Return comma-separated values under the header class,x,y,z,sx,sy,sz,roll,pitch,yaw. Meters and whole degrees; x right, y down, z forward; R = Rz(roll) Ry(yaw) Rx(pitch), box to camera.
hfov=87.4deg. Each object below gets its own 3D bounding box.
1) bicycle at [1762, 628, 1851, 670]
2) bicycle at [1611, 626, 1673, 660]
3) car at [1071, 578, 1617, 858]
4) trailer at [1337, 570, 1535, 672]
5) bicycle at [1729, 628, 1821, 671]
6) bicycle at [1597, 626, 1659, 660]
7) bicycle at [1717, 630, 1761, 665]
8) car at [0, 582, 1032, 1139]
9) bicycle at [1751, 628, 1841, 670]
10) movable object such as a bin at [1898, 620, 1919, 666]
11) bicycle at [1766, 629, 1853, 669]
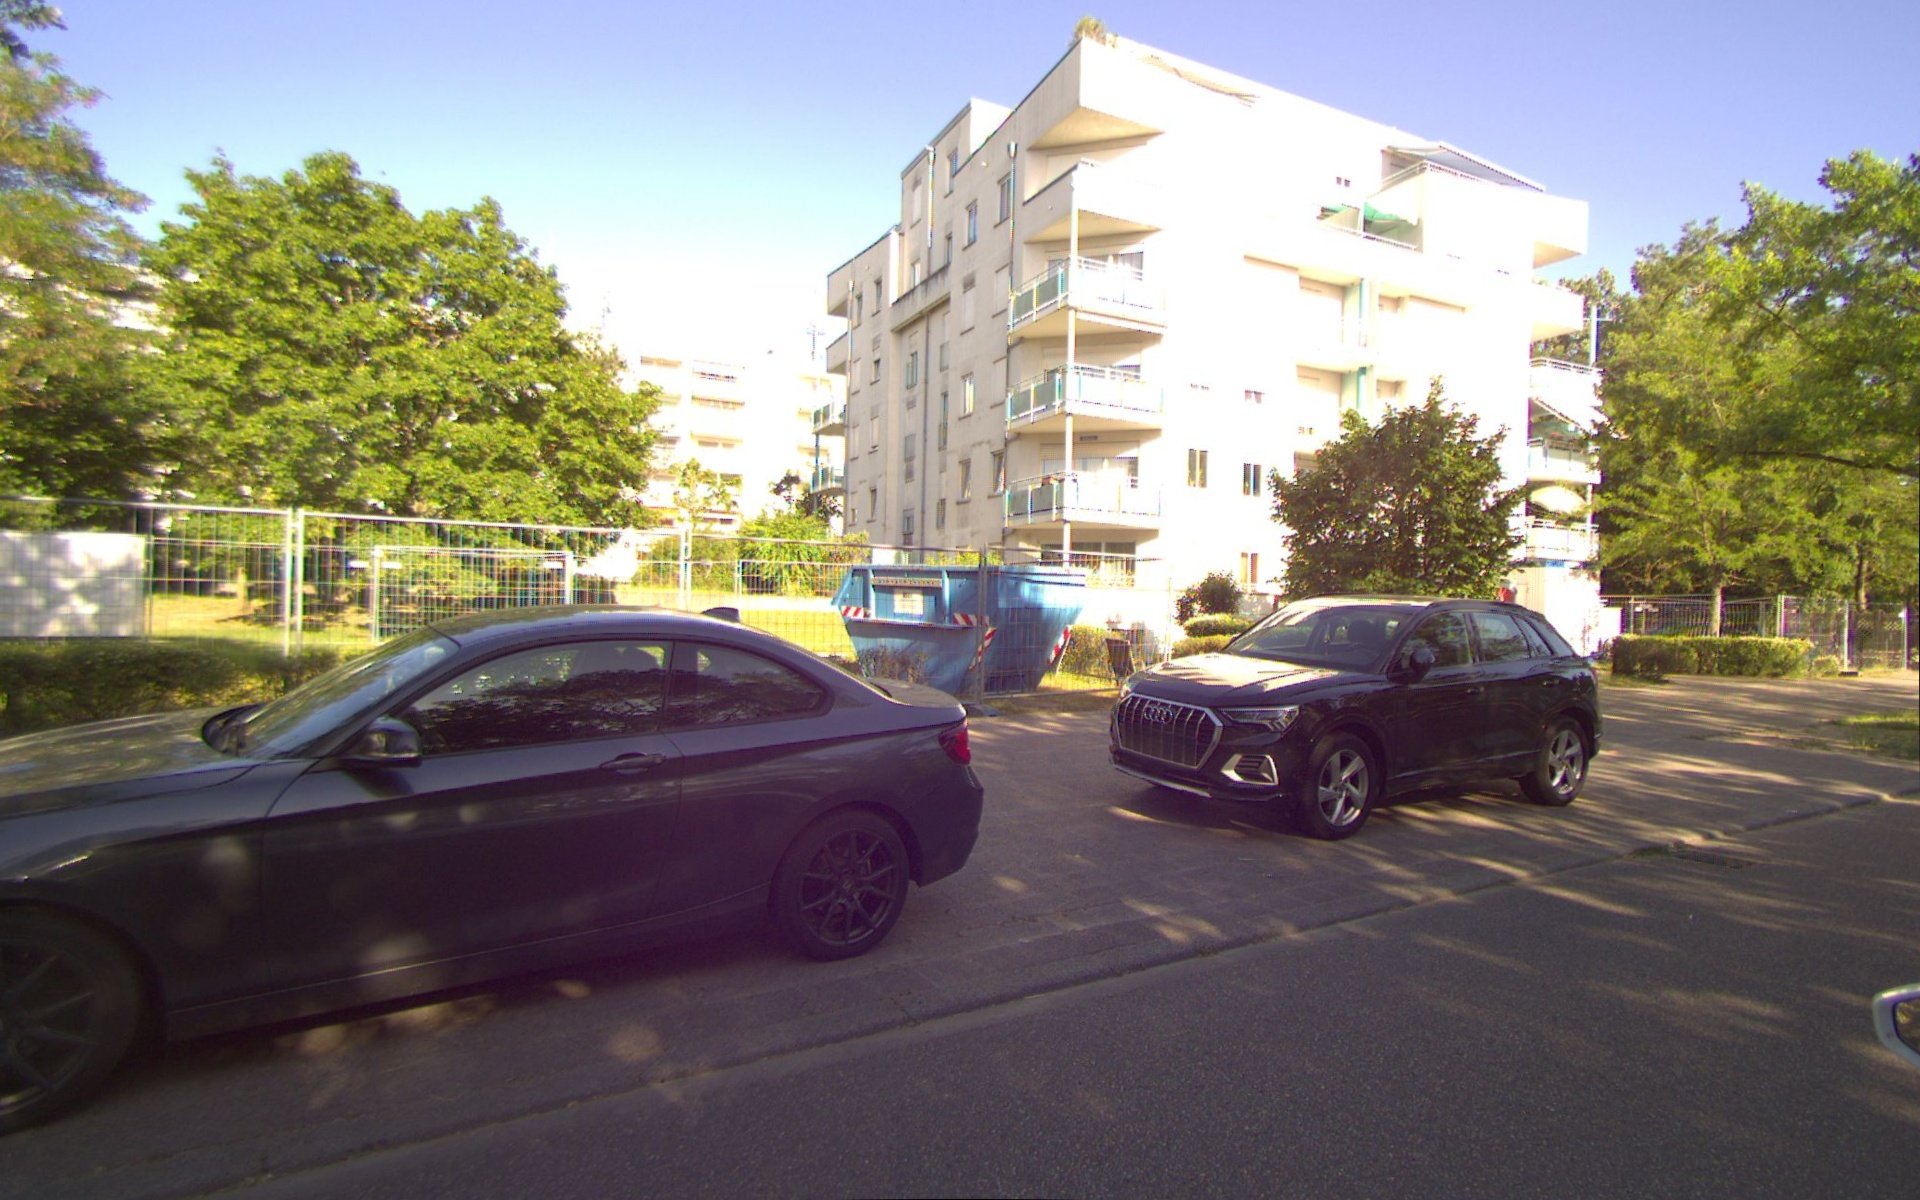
class,x,y,z,sx,sy,sz,roll,pitch,yaw
bicycle,23.353,1.339,27.735,0.398,1.040,1.841,2,-1,-43
bicycle,22.174,1.395,32.696,0.395,1.040,1.690,2,-1,-24
car,3.083,0.731,7.847,4.172,1.643,1.766,1,2,-31
trailer,10.957,0.472,23.095,4.290,2.149,1.856,1,2,-27
bicycle,21.733,1.304,26.811,0.398,1.040,1.851,2,-1,-43
bicycle,21.549,1.379,32.443,0.395,1.040,1.690,2,-1,-24
bicycle,23.792,1.445,30.667,1.680,1.040,0.397,2,-1,-29
car,-1.841,0.720,4.229,4.095,1.452,1.705,1,2,-35
bicycle,22.596,1.309,27.178,0.398,1.040,1.838,2,-1,-43
movable object such as a bin,31.040,1.381,31.901,1.300,1.454,1.273,1,0,-2
bicycle,23.673,1.348,28.016,0.398,1.040,1.820,2,-1,-43
